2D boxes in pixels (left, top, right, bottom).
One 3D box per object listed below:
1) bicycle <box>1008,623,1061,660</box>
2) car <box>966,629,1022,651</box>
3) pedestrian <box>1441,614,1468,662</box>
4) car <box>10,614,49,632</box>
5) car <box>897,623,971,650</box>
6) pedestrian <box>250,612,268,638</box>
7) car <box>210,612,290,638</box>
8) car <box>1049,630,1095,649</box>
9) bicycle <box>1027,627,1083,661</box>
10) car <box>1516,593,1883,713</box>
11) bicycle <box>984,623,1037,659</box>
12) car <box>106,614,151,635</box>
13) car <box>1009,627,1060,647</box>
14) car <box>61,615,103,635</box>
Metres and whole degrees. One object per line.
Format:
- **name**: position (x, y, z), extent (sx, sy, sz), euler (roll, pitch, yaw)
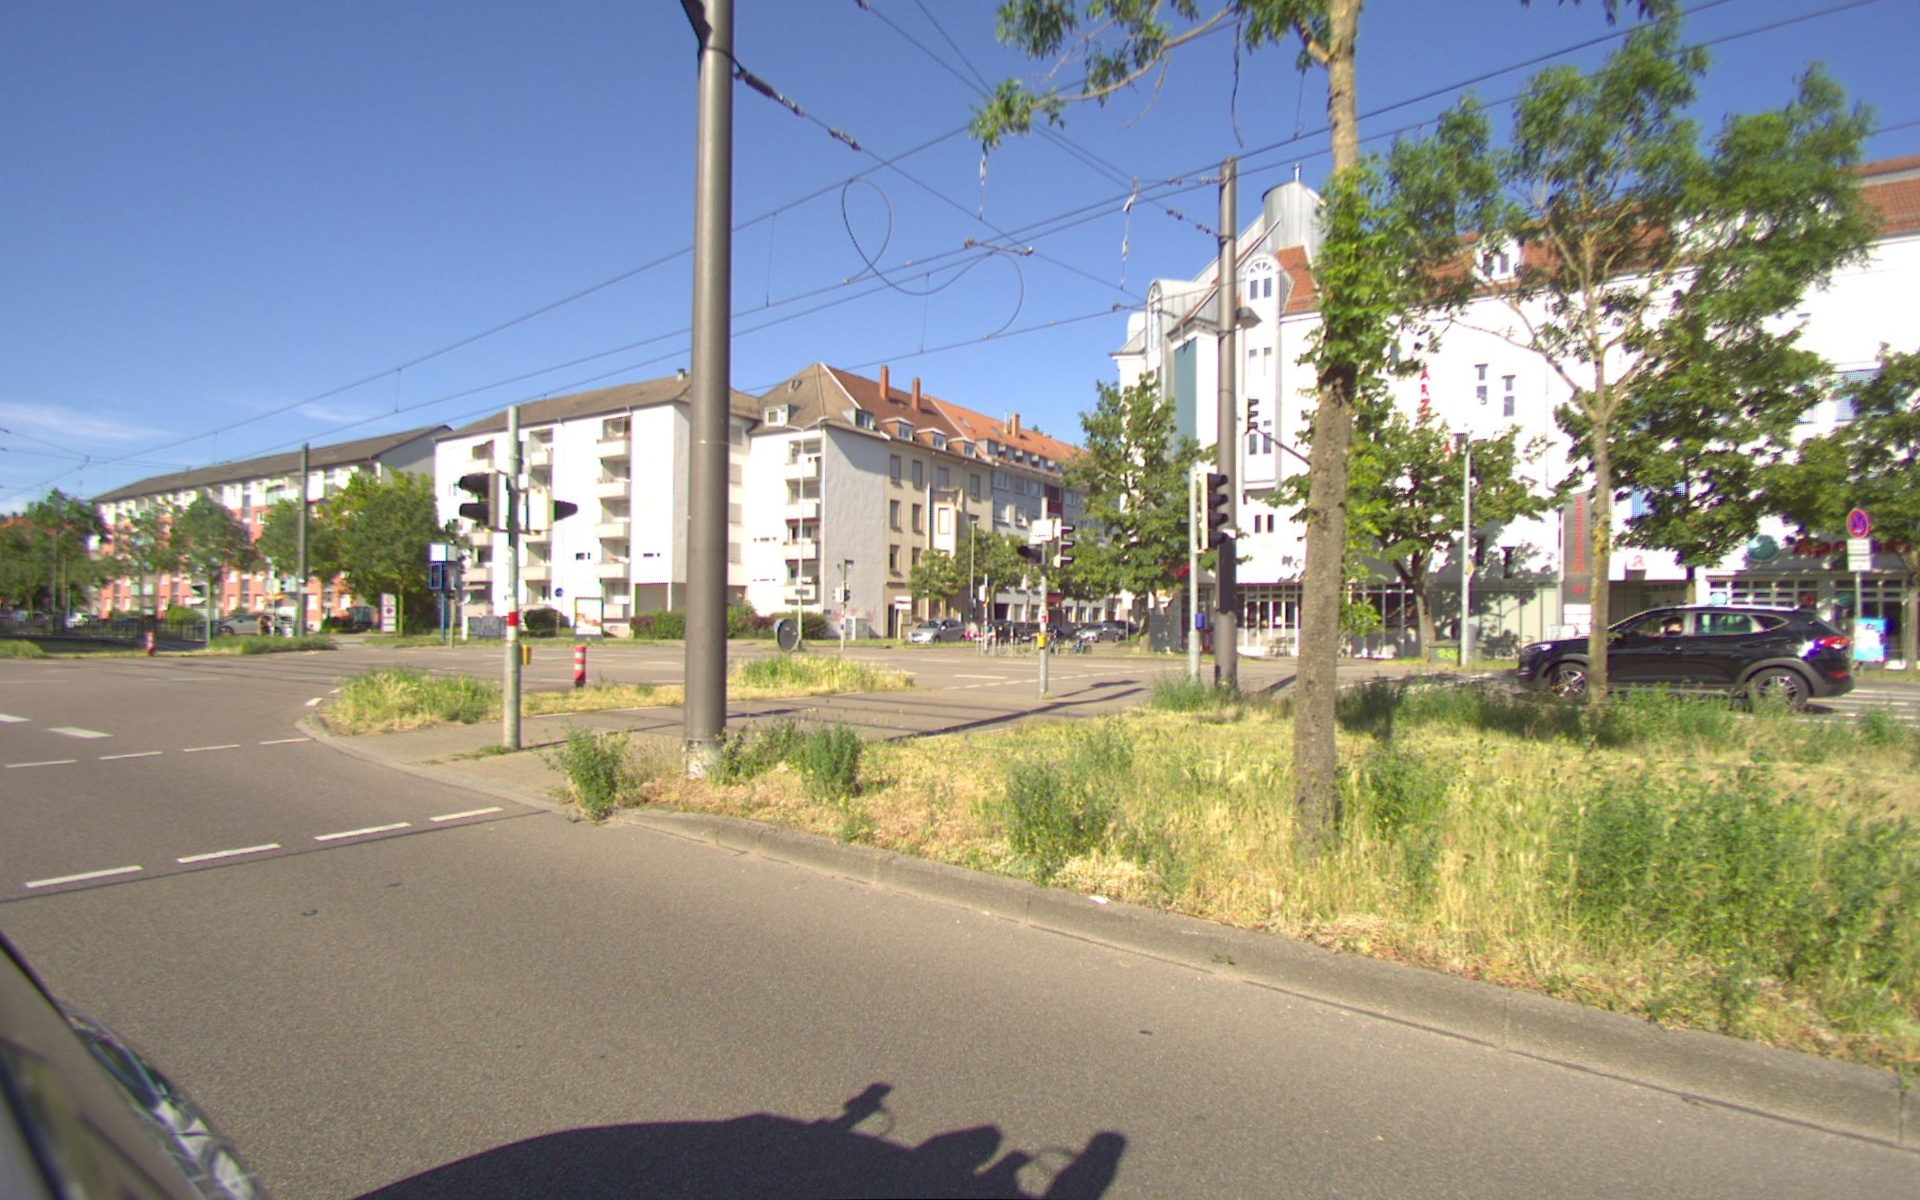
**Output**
- **bicycle**: position (2.743, 1.494, 37.018), extent (0.662, 1.319, 2.548), euler (-1, -2, 37)
- **car**: position (2.115, 2.457, 62.555), extent (1.697, 1.320, 4.045), euler (-1, -2, 31)
- **pedestrian**: position (18.022, 1.373, 36.859), extent (0.778, 1.704, 0.794), euler (-1, -2, 33)
- **car**: position (-91.006, 2.281, 98.982), extent (4.229, 1.723, 1.813), euler (-1, -2, 33)
- **car**: position (-1.436, 2.045, 57.160), extent (2.326, 1.476, 4.144), euler (-1, -2, 32)
- **pedestrian**: position (-46.445, 1.653, 67.070), extent (0.702, 1.724, 0.777), euler (-1, -2, 33)
- **car**: position (-47.426, 1.679, 67.685), extent (4.167, 1.723, 1.699), euler (1, -2, -26)
- **car**: position (7.966, 2.798, 71.928), extent (1.697, 1.320, 4.045), euler (-1, -2, 31)
- **bicycle**: position (3.429, 1.561, 36.386), extent (0.782, 1.168, 2.548), euler (-1, -2, 37)
- **car**: position (11.532, 0.782, 16.062), extent (4.485, 1.653, 1.801), euler (-1, -2, 40)
- **bicycle**: position (1.917, 1.507, 37.675), extent (0.662, 1.319, 2.548), euler (-1, -2, 37)
- **car**: position (-69.571, 2.046, 84.640), extent (4.229, 1.723, 1.675), euler (-1, -2, 33)
- **car**: position (4.936, 2.420, 66.724), extent (1.697, 1.320, 4.045), euler (-1, -2, 31)
- **car**: position (-78.344, 2.239, 90.302), extent (4.229, 1.723, 1.675), euler (-1, -2, 33)
